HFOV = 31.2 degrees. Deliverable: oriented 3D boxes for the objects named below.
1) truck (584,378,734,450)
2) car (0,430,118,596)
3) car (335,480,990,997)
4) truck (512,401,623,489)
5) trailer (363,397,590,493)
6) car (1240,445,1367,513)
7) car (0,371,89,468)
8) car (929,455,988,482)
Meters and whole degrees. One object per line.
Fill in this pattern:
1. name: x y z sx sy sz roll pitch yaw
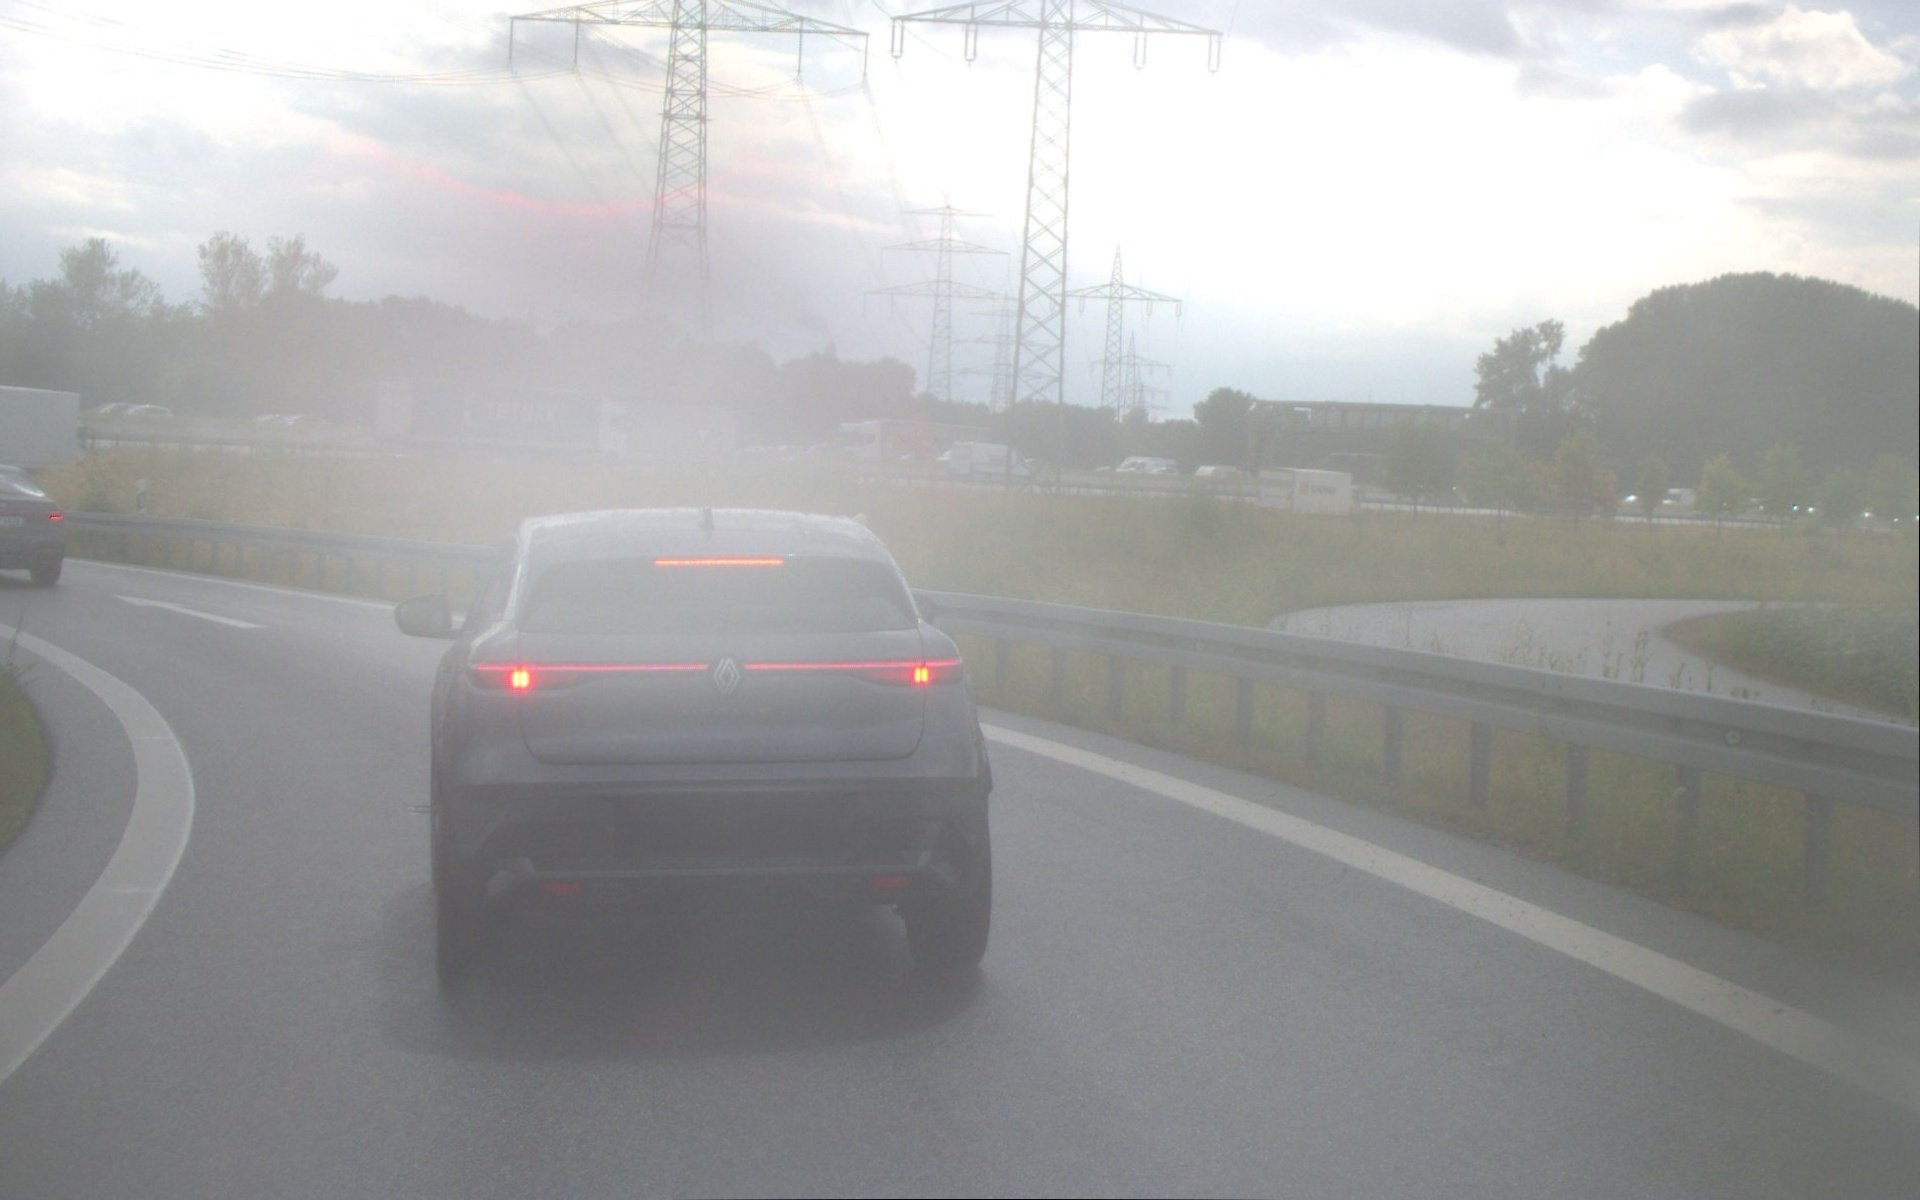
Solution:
1. truck: -20.061 -12.428 230.348 1.998 4.109 12.471 5 2 37
2. car: -12.909 -1.233 44.988 2.121 2.011 5.535 2 2 -30
3. car: -1.100 0.354 12.589 1.993 1.561 4.150 0 2 -5
4. truck: -20.729 -8.180 181.657 3.075 4.463 5.063 5 5 34
5. trailer: -24.647 -7.922 176.214 3.054 4.619 13.276 6 5 35
6. car: 20.564 -7.189 205.425 3.390 3.598 9.026 5 2 35
7. car: -31.380 -5.914 111.821 3.137 2.941 7.207 3 4 10
8. car: -0.090 -8.515 222.442 1.997 1.597 3.993 5 5 32
